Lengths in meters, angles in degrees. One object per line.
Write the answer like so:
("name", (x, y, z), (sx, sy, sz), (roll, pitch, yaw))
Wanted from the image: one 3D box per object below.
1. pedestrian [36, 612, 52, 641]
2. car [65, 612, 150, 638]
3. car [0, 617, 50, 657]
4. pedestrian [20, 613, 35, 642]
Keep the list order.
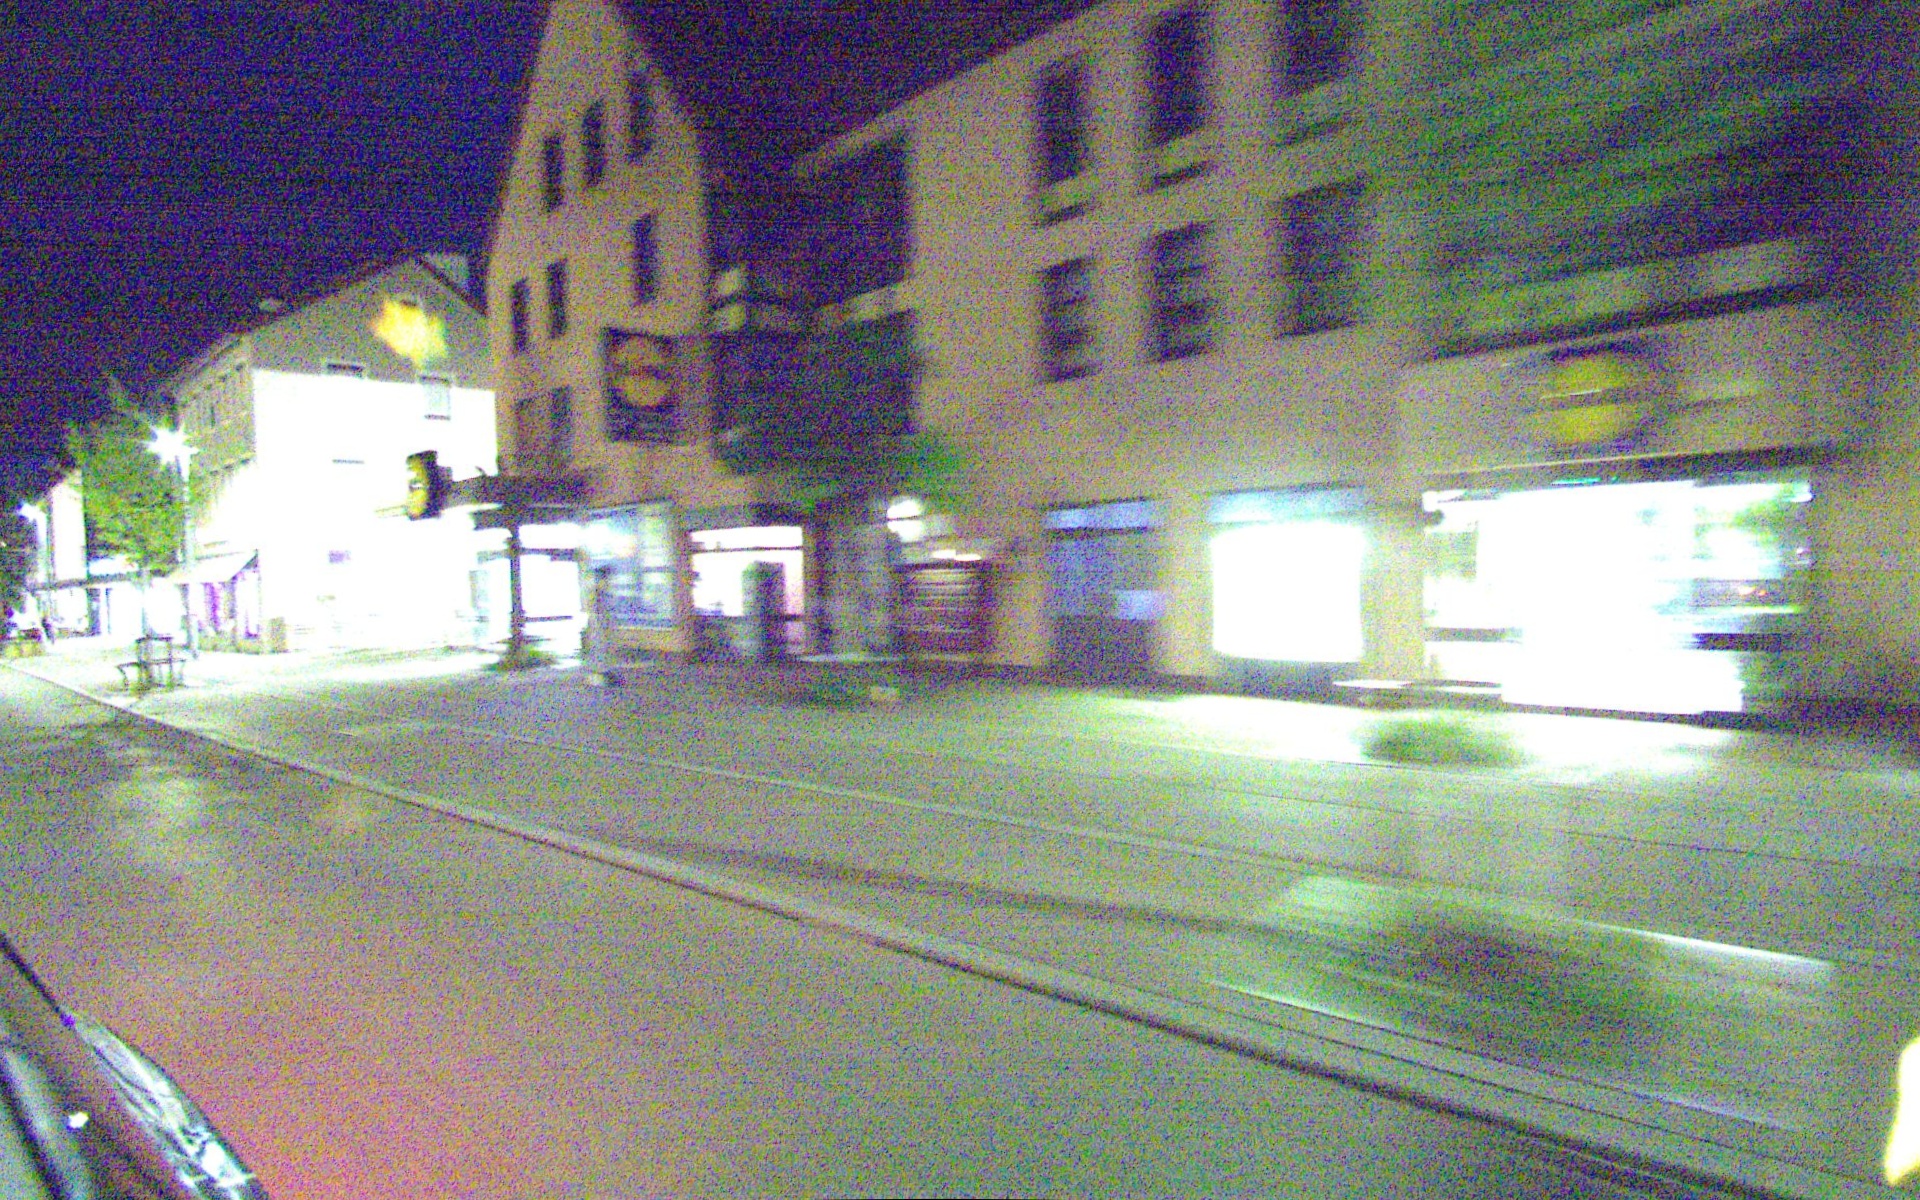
("pedestrian", (-51.540, 1.486, 56.940), (0.665, 1.600, 0.523), (-1, 1, 38))
("car", (-51.807, 1.515, 61.545), (1.652, 1.427, 3.784), (-1, 0, 41))
("car", (-37.677, 1.459, 39.969), (4.927, 1.430, 1.877), (-1, 2, 40))
("pedestrian", (-52.165, 1.549, 56.586), (0.666, 1.600, 0.522), (-1, 1, 42))
